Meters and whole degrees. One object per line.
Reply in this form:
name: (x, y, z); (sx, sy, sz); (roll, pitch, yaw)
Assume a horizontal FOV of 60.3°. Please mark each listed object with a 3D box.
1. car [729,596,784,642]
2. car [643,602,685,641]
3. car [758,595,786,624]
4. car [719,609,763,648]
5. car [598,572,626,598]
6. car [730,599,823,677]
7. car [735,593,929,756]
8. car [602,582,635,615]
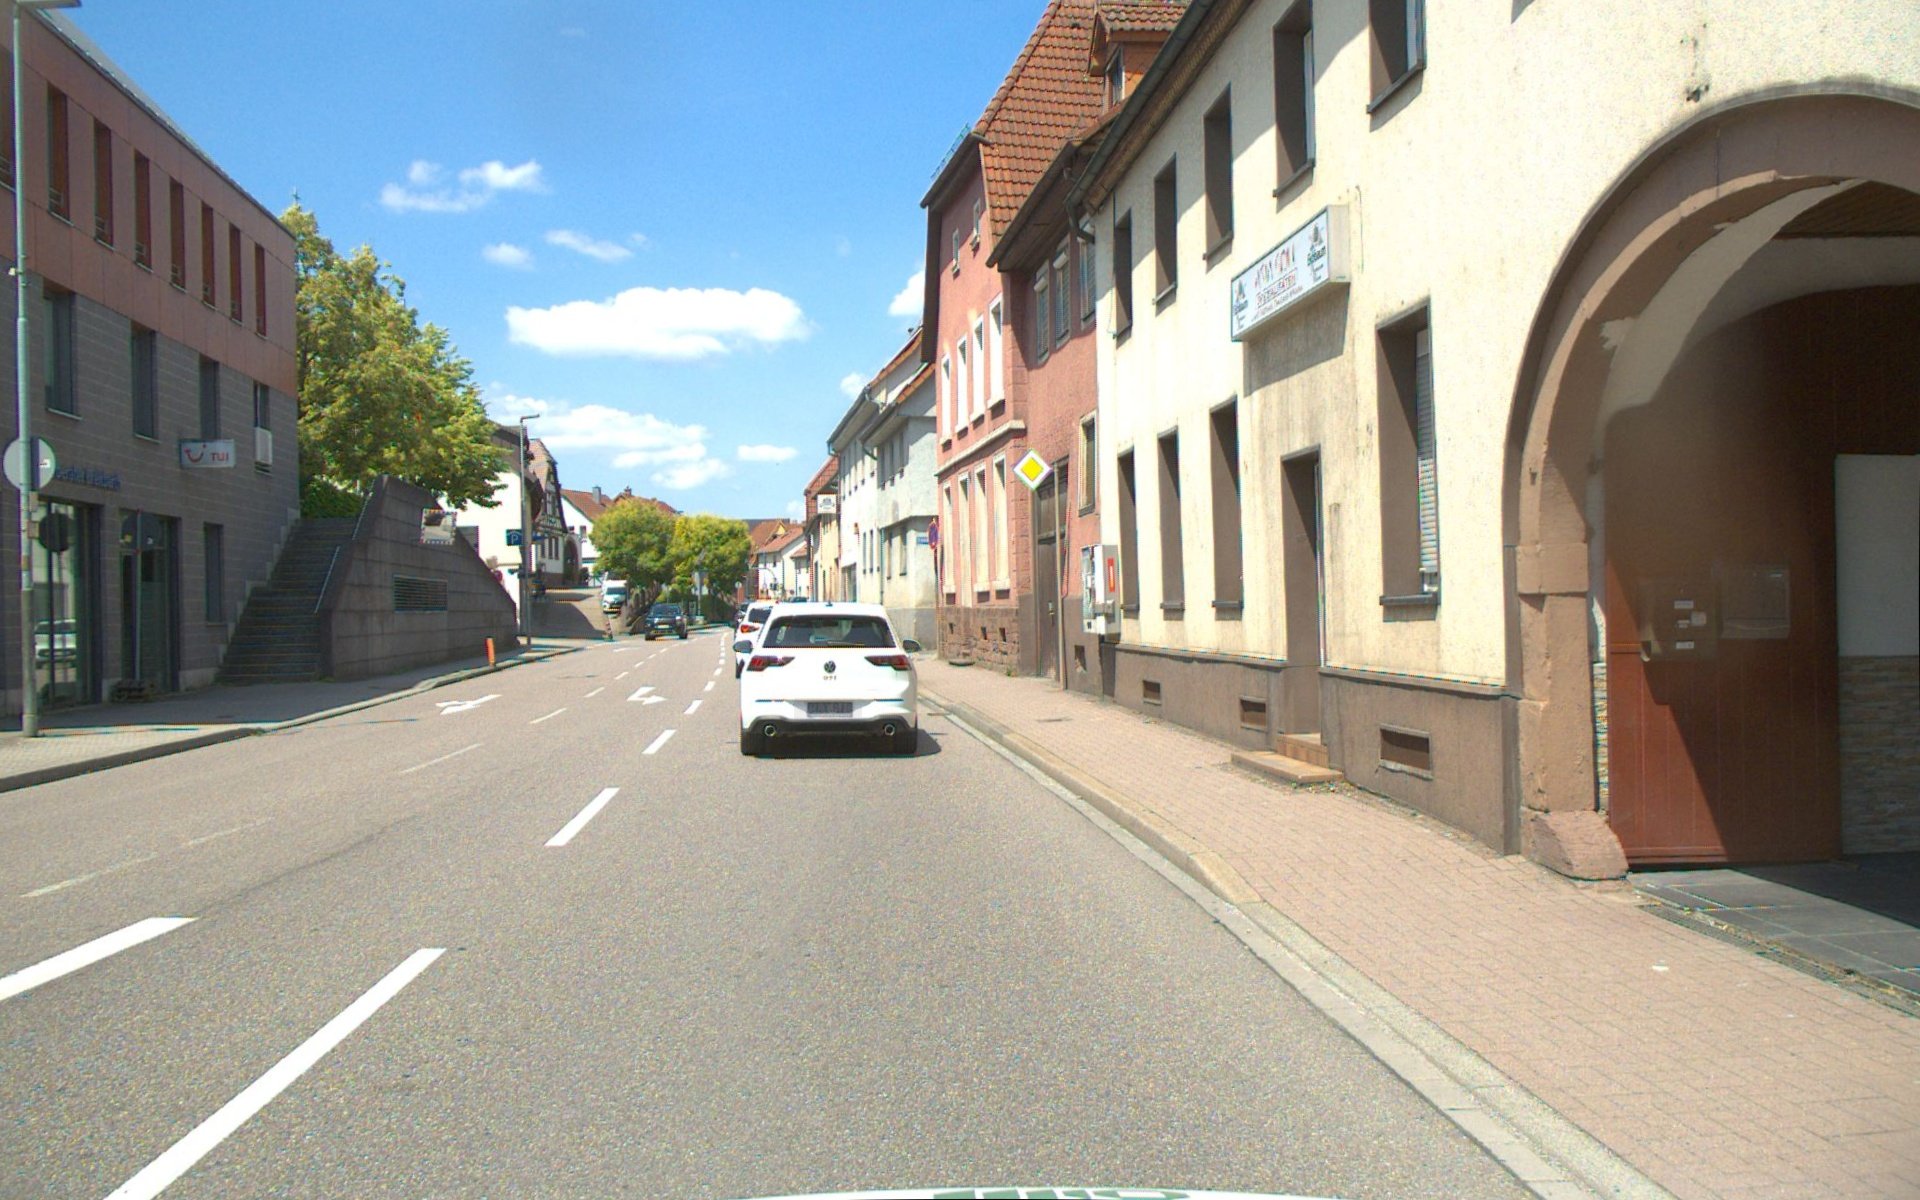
car: (-6.935, 0.645, 56.138); (1.774, 1.493, 3.992); (1, -1, -8)
car: (-13.254, 0.932, 74.198); (1.638, 1.686, 4.010); (-1, 0, -8)
car: (-12.315, 0.625, 108.186); (1.742, 1.796, 3.994); (-1, 0, -7)
car: (-9.387, 1.198, 71.017); (1.741, 1.565, 3.995); (-1, 0, -6)
car: (-23.156, -1.033, 110.116); (1.547, 1.385, 3.850); (-1, 6, -9)
car: (-3.798, 0.758, 33.946); (1.773, 1.493, 3.993); (1, -1, -7)
car: (-1.244, 0.708, 17.241); (1.771, 1.493, 3.998); (1, -1, -2)
car: (-20.268, -0.083, 98.162); (1.662, 1.569, 3.850); (-1, 6, -9)
